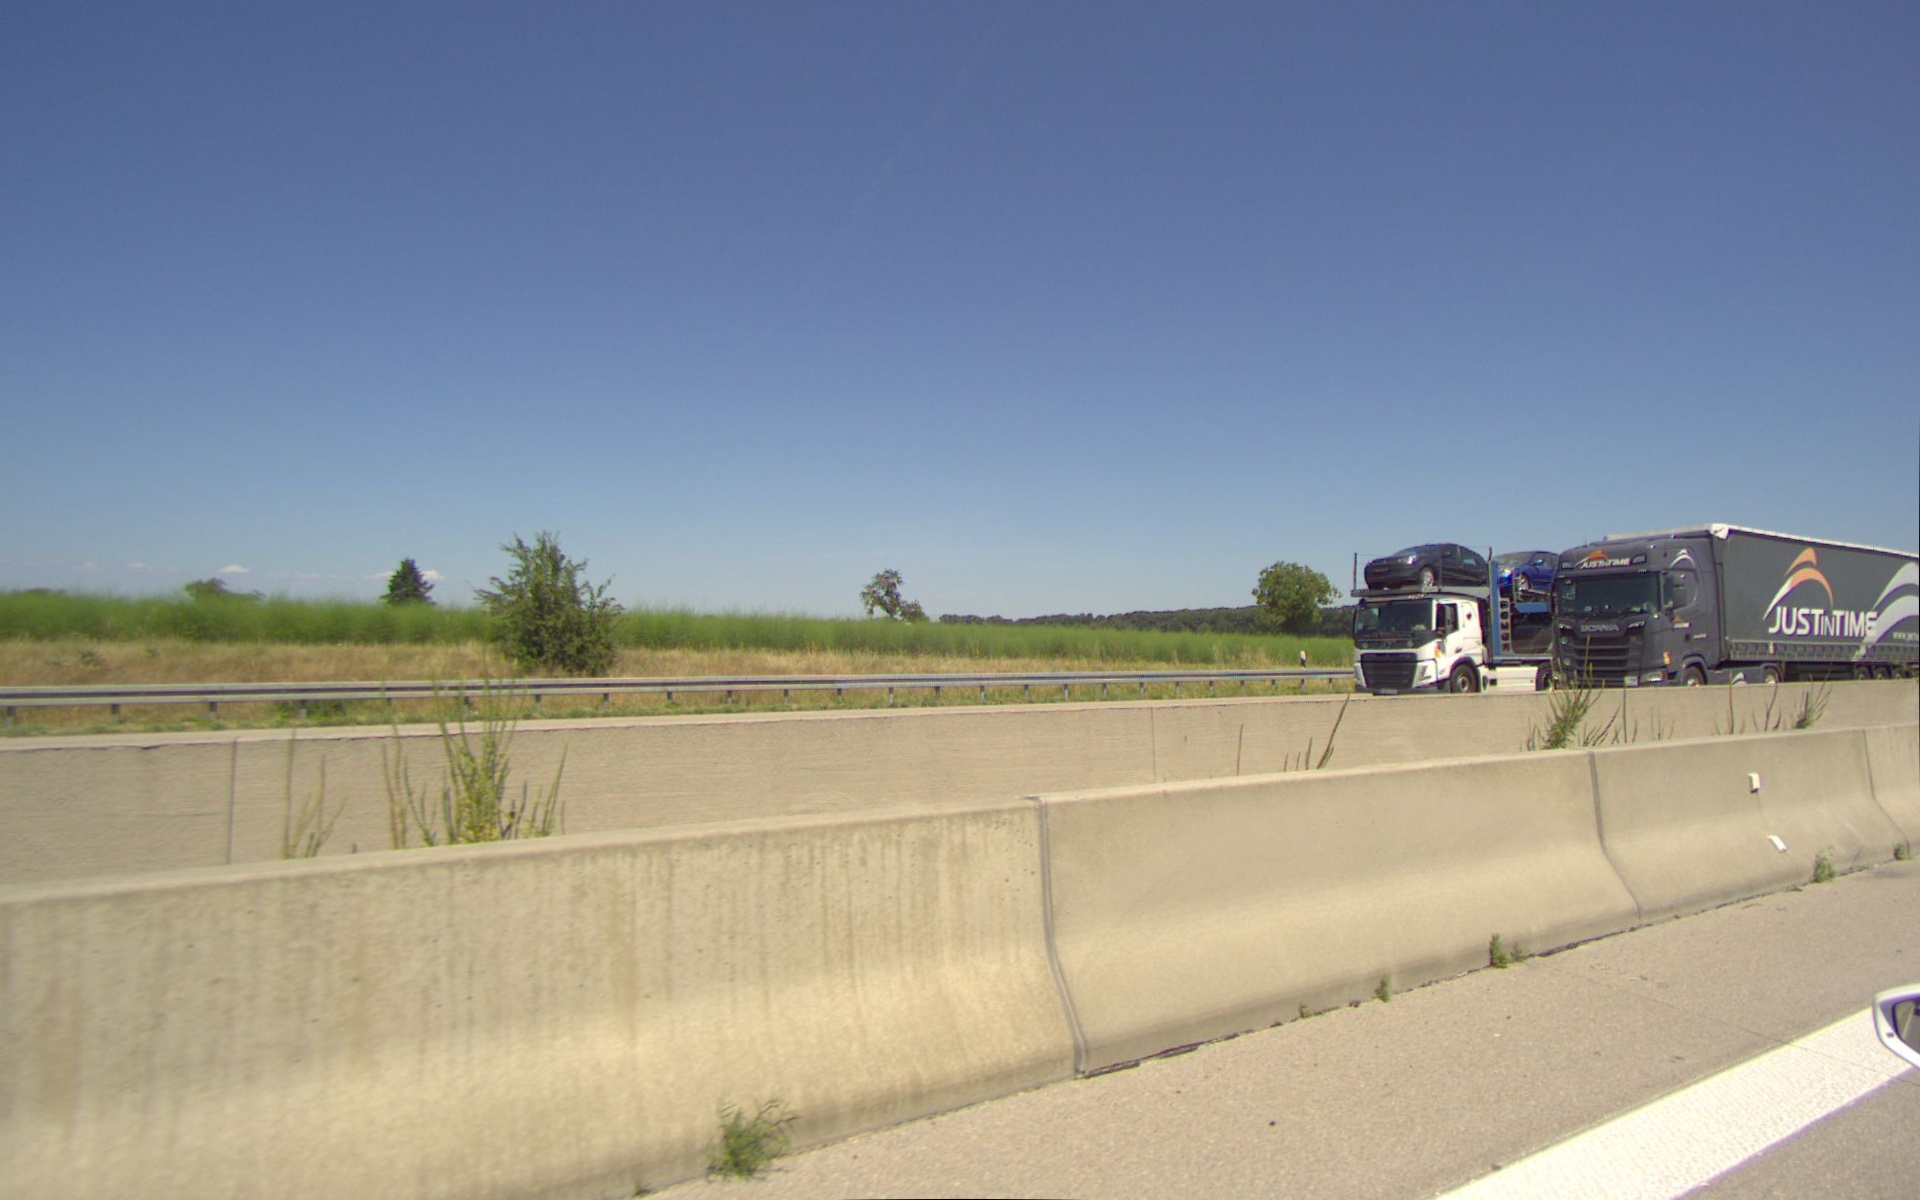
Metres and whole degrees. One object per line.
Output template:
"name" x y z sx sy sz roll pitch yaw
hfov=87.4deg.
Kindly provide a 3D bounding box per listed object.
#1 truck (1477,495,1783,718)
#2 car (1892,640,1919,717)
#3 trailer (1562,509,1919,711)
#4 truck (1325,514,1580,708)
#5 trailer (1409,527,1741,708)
"truck" 15.859 0.262 23.695 7.106 4.534 3.252 2 -2 -31
"car" 25.186 1.957 24.765 4.688 1.806 1.984 2 0 -31
"trailer" 22.102 0.451 27.497 14.283 4.534 3.252 2 -2 -31
"truck" 13.294 0.333 27.069 6.177 4.668 3.216 2 0 -30
"trailer" 18.904 0.602 30.413 12.150 4.668 3.216 2 0 -31
